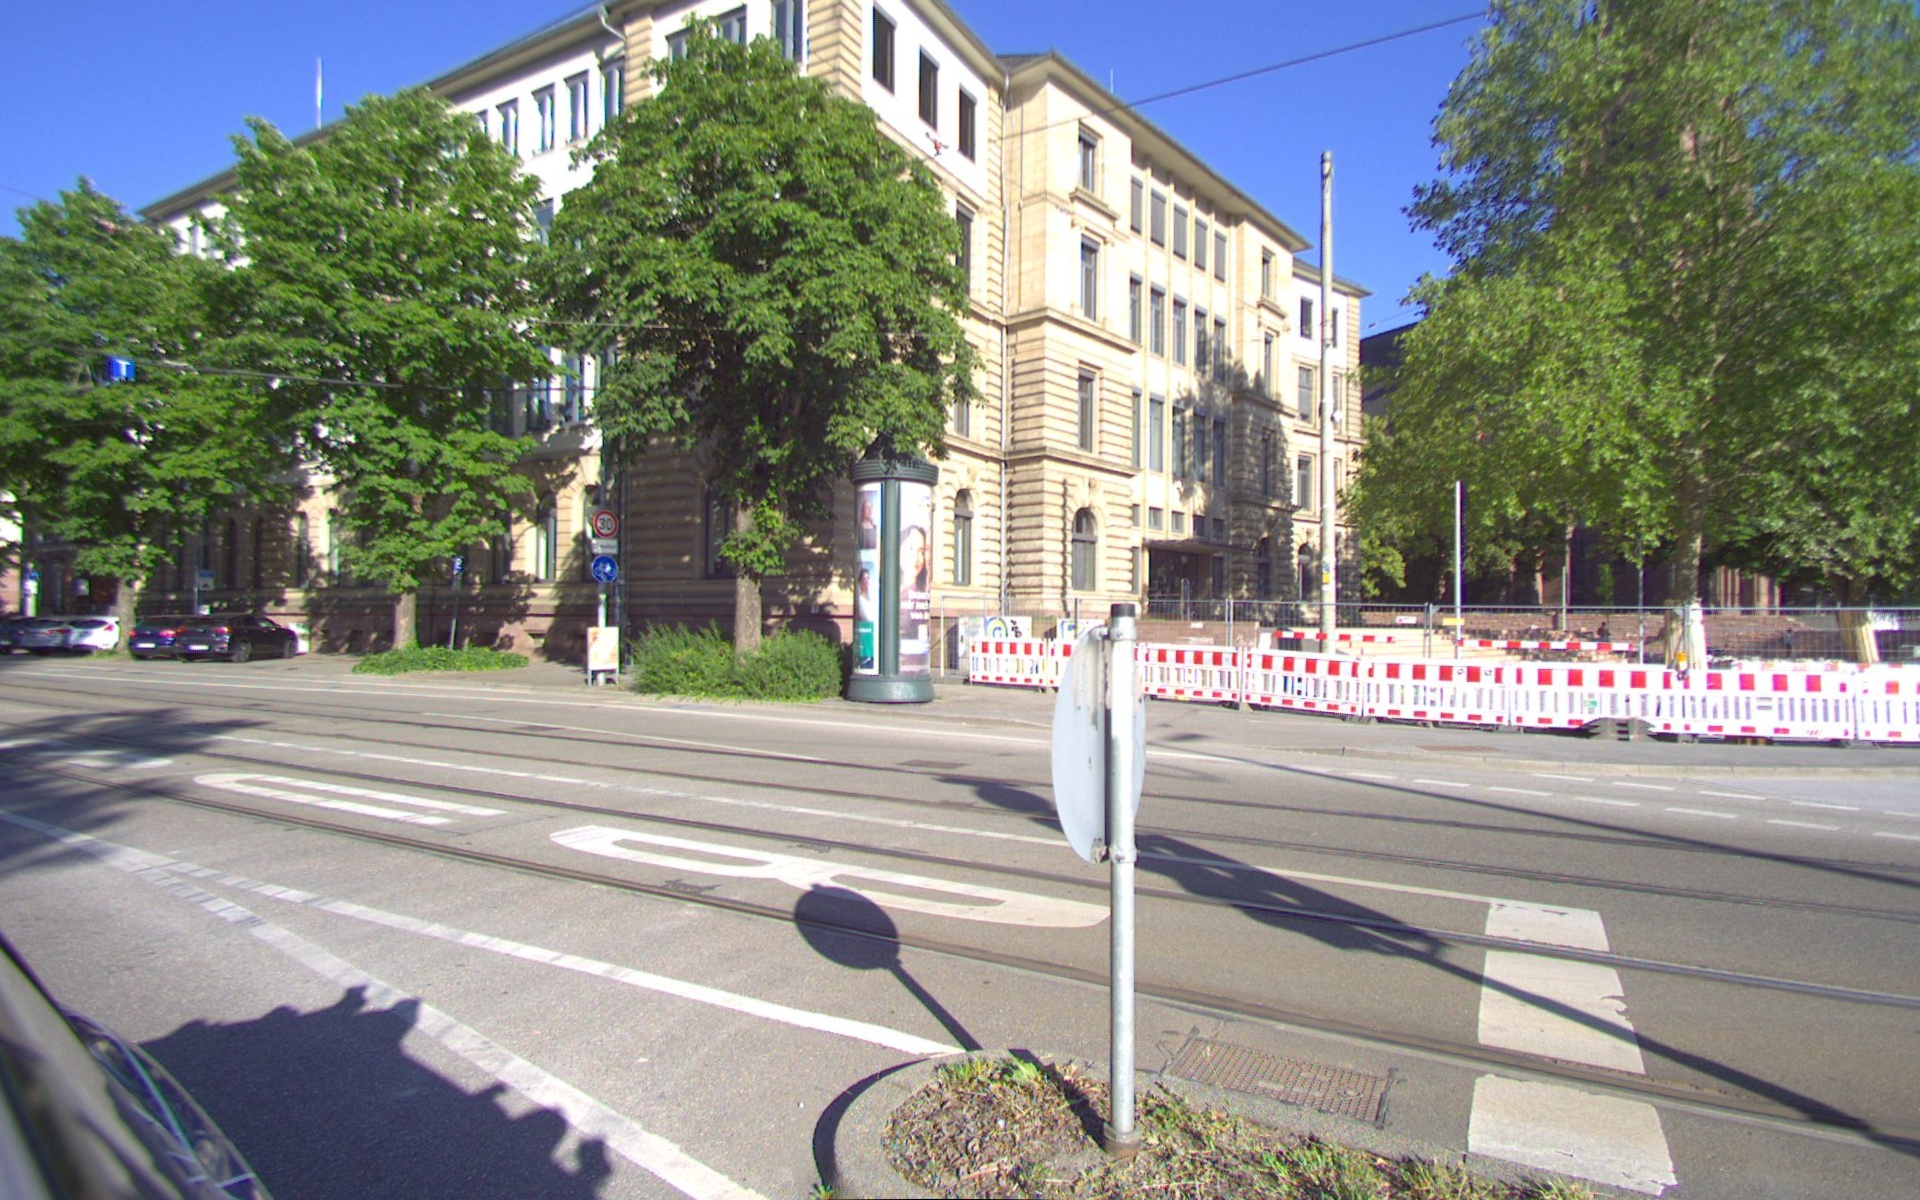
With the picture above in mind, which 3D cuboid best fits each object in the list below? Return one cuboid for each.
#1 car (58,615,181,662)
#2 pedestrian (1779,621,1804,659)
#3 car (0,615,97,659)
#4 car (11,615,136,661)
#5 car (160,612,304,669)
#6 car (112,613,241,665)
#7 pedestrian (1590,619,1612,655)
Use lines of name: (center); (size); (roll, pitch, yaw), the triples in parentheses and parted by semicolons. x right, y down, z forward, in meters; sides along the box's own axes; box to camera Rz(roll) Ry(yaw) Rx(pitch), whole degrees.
car: (-30.915, 1.376, 37.354); (1.626, 1.572, 3.652); (-1, 0, -3)
pedestrian: (36.455, 1.734, 44.355); (0.666, 1.660, 0.762); (1, -2, -45)
car: (-36.244, 1.416, 39.773); (1.626, 1.572, 3.652); (-1, 0, -3)
car: (-33.228, 1.394, 38.065); (1.626, 1.572, 3.652); (-1, 0, -3)
car: (-23.615, 1.263, 33.036); (1.819, 1.643, 4.184); (-1, 0, -3)
car: (-26.244, 1.273, 34.037); (1.626, 1.572, 3.652); (-1, 0, -3)
pedestrian: (30.346, 1.733, 47.883); (0.627, 1.660, 0.677); (1, -2, -37)
